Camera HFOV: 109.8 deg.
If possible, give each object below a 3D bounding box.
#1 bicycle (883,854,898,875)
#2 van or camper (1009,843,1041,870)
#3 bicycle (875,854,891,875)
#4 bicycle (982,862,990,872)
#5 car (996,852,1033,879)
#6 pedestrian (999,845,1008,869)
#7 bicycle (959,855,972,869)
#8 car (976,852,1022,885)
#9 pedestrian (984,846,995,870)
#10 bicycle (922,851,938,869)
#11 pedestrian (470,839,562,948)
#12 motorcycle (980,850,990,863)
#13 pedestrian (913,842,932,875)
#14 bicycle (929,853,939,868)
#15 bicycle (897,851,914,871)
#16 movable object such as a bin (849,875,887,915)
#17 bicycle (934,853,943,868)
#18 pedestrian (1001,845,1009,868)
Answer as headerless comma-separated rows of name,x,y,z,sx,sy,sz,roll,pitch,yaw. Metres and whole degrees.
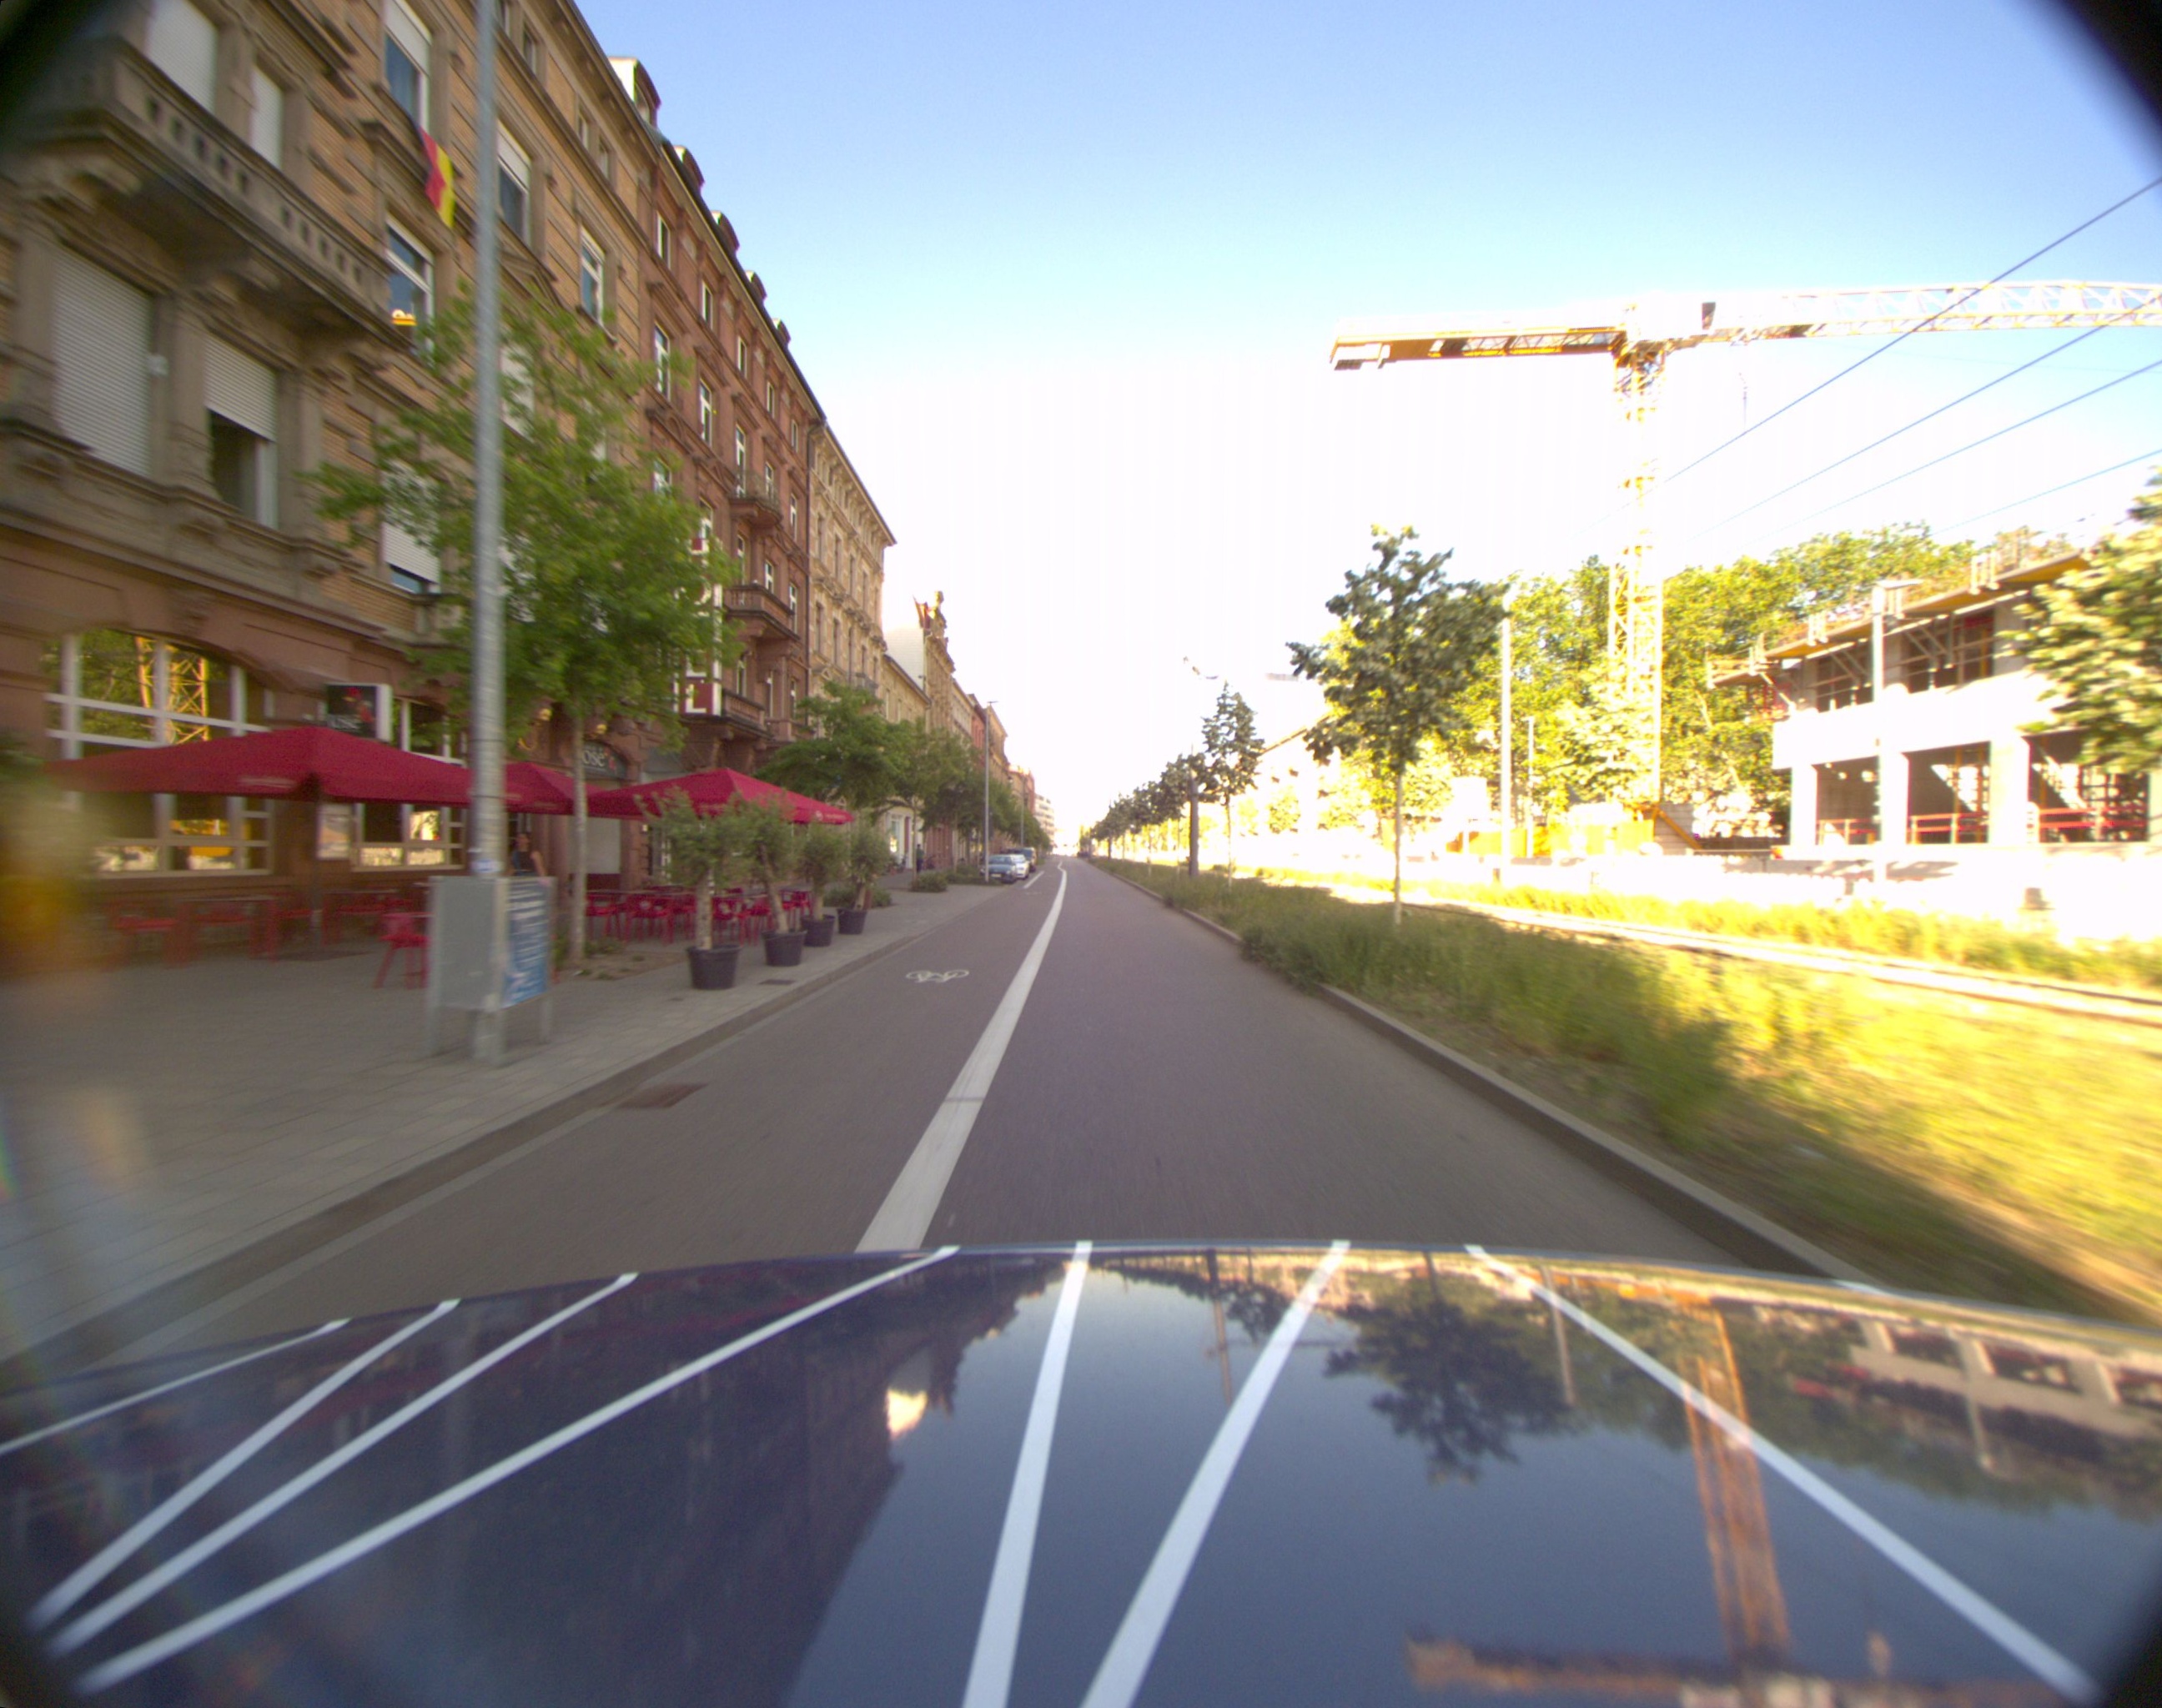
bicycle,-10.260,0.541,41.011,0.385,1.074,1.676,-1,1,0
van or camper,-4.293,0.177,59.186,1.966,1.960,5.487,2,0,0
bicycle,-10.648,0.556,40.955,0.385,1.074,1.676,-1,1,0
bicycle,-6.151,0.833,49.250,0.355,0.643,1.002,-1,1,-1
car,-3.943,0.650,45.806,1.853,1.445,5.251,2,0,-1
pedestrian,-5.666,0.220,55.678,0.471,1.768,0.506,0,1,19
bicycle,-8.027,0.554,52.813,0.656,0.910,1.682,-1,1,-1
car,-4.176,0.690,39.414,1.853,1.555,4.296,2,0,0
pedestrian,-6.726,0.299,55.951,0.481,1.718,0.578,1,2,44
bicycle,-10.576,0.414,53.123,0.706,1.213,2.072,-1,1,-1
pedestrian,-8.355,0.562,11.265,0.730,1.525,0.797,2,1,0
motorcycle,-10.267,0.272,81.419,0.788,1.413,2.053,0,0,0
pedestrian,-8.396,0.229,40.162,0.749,1.744,1.072,1,1,0
bicycle,-10.827,0.485,55.943,0.344,1.027,2.072,-1,1,-1
bicycle,-10.611,0.405,46.074,0.721,1.188,1.772,0,1,-4
movable object such as a bin,-5.369,1.021,19.166,0.676,0.919,0.561,4,2,20
bicycle,-10.479,0.435,55.947,0.325,1.058,2.072,-1,1,-1
pedestrian,-5.667,0.214,56.838,0.505,1.718,0.490,-1,1,-2
